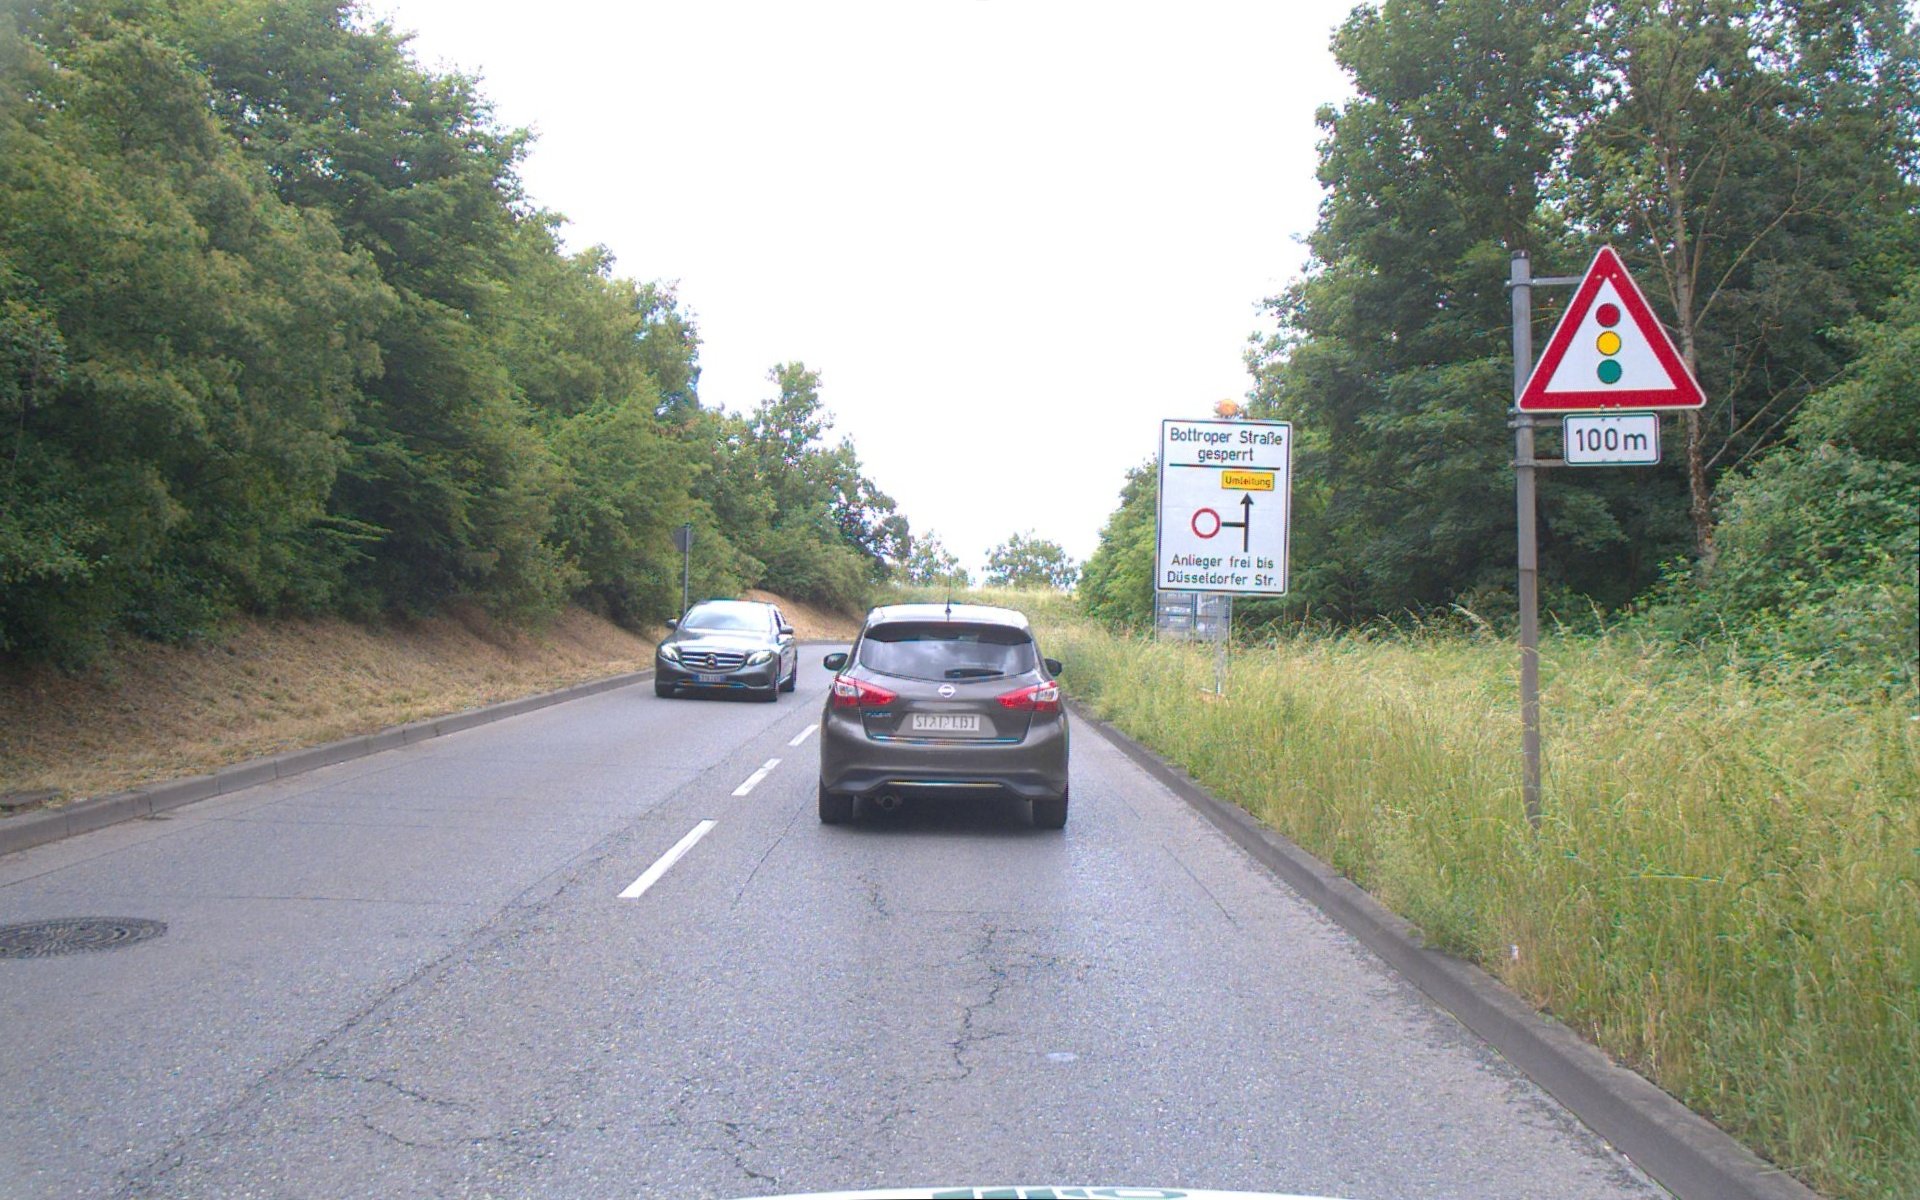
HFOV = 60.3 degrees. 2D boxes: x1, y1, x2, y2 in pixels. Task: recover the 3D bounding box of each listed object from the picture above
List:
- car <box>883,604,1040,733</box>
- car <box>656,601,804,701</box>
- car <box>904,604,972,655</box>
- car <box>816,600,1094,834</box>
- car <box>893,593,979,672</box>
[{"bbox_3d":[-0.083,0.829,21.885,1.808,1.519,4.224,1,0,-4],"label":"car"},{"bbox_3d":[-3.535,0.742,26.157,1.794,1.430,4.430,1,0,-1],"label":"car"},{"bbox_3d":[-0.684,0.833,48.649,1.762,1.422,3.997,1,0,-4],"label":"car"},{"bbox_3d":[-0.148,0.769,12.785,1.808,1.519,3.997,1,0,-4],"label":"car"},{"bbox_3d":[-0.516,0.674,35.833,1.686,1.520,3.576,3,0,-1],"label":"car"}]
